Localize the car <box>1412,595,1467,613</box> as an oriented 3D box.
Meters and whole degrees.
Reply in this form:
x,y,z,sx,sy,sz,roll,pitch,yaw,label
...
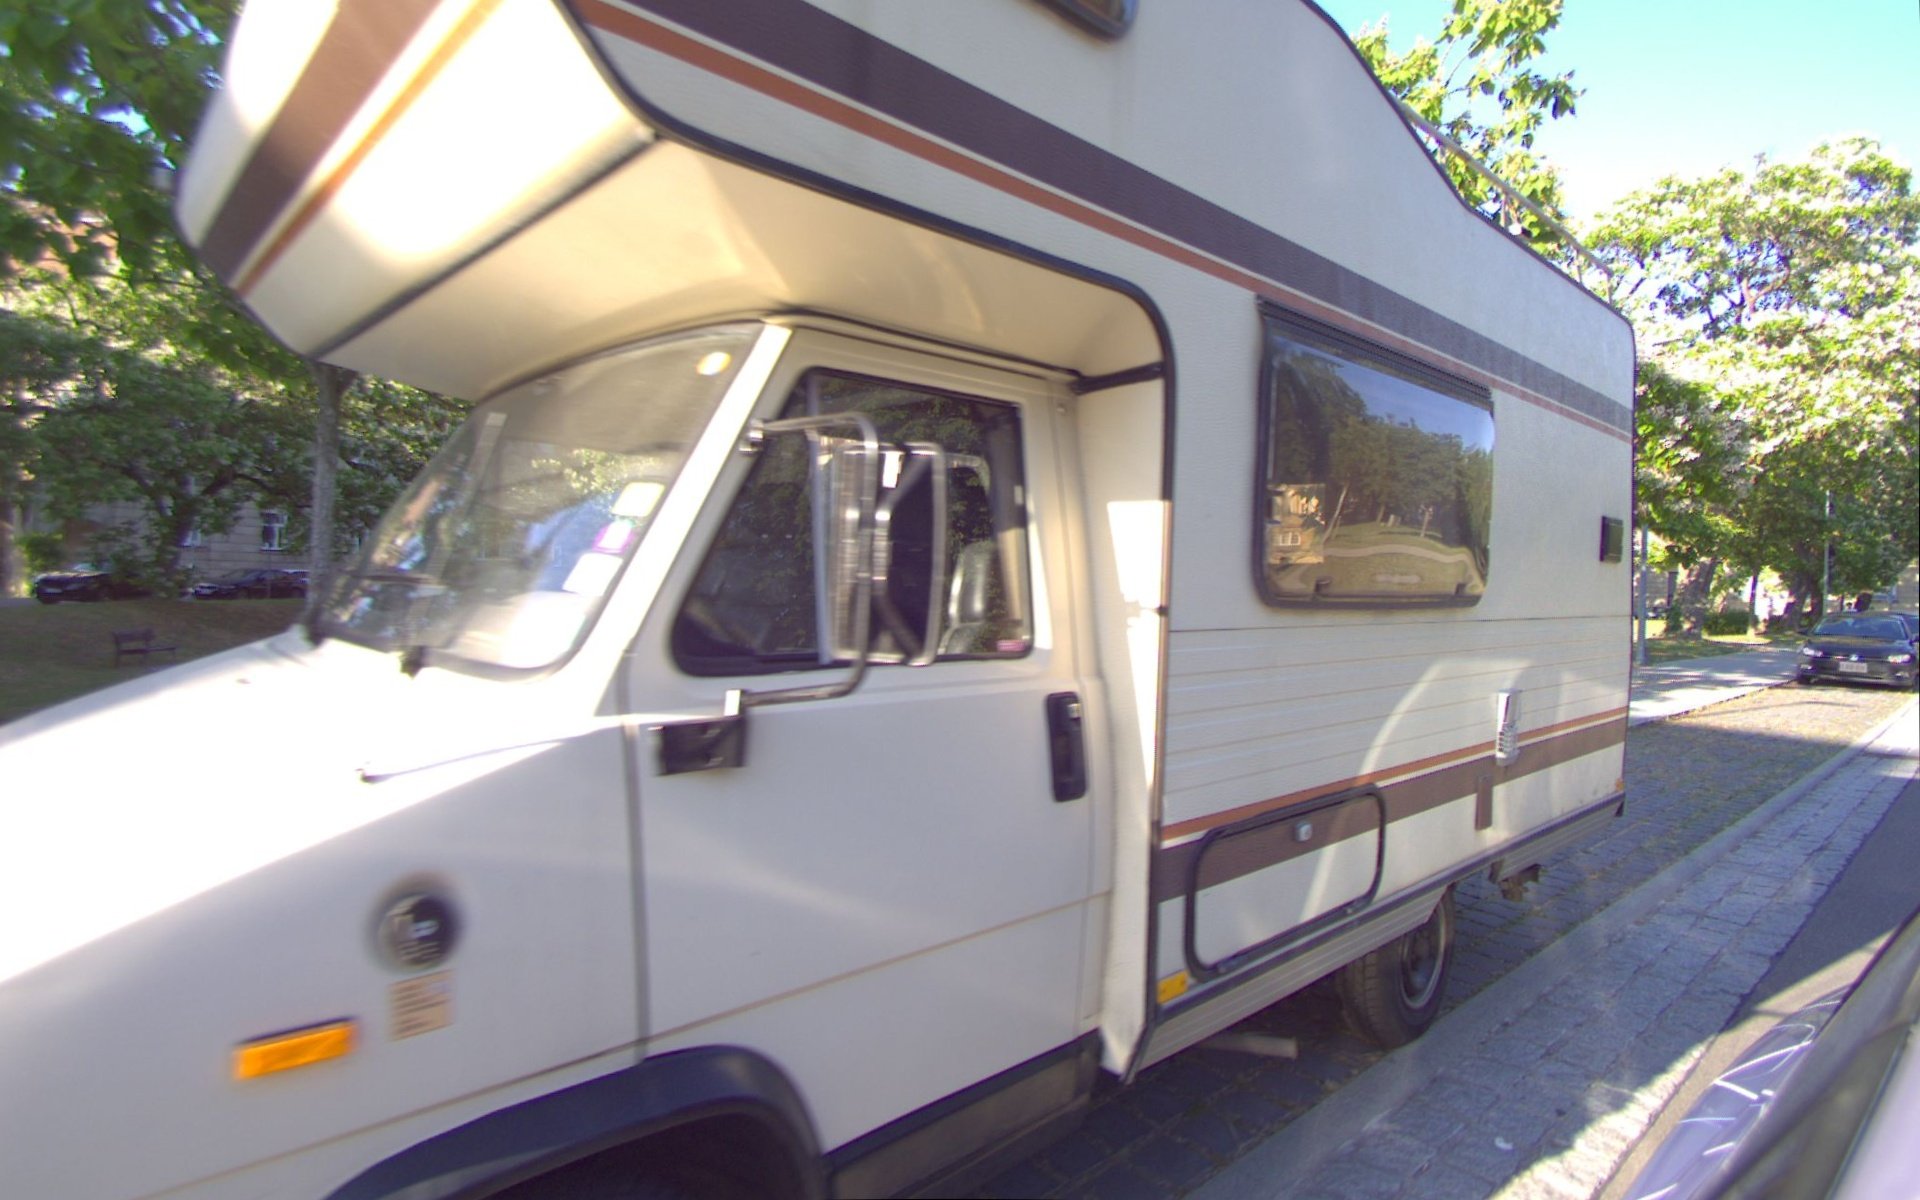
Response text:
x,y,z,sx,sy,sz,roll,pitch,yaw,label
43.691,0.394,92.339,4.314,1.435,1.809,2,1,19,car

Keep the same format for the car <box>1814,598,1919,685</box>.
x,y,z,sx,sy,sz,roll,pitch,yaw,label
18.064,0.740,19.902,1.627,1.482,4.181,3,2,44,car

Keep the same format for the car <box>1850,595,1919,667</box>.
x,y,z,sx,sy,sz,roll,pitch,yaw,label
22.793,0.705,24.322,4.349,1.570,1.734,0,2,-44,car

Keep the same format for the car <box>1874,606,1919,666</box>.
x,y,z,sx,sy,sz,roll,pitch,yaw,label
27.263,1.000,28.538,4.201,1.570,1.735,0,2,-42,car

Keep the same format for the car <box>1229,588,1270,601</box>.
x,y,z,sx,sy,sz,roll,pitch,yaw,label
34.413,-0.690,120.340,4.282,1.435,1.822,2,1,-7,car

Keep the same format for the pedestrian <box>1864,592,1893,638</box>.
x,y,z,sx,sy,sz,roll,pitch,yaw,label
36.000,0.569,39.655,0.719,1.758,0.754,2,0,-42,pedestrian

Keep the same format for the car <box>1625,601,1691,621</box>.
x,y,z,sx,sy,sz,roll,pitch,yaw,label
59.019,0.917,85.659,4.327,1.435,1.827,3,2,28,car

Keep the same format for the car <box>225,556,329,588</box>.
x,y,z,sx,sy,sz,roll,pitch,yaw,label
-33.520,-1.350,49.795,1.855,1.471,3.980,2,2,16,car

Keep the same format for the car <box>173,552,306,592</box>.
x,y,z,sx,sy,sz,roll,pitch,yaw,label
-29.013,-1.123,40.921,1.850,1.471,4.356,2,2,9,car

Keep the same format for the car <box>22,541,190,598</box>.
x,y,z,sx,sy,sz,roll,pitch,yaw,label
-28.930,-1.041,34.495,1.845,1.767,4.526,2,2,1,car

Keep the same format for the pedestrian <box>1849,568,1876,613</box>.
x,y,z,sx,sy,sz,roll,pitch,yaw,label
36.512,-0.383,40.941,0.719,1.758,0.726,2,0,-42,pedestrian

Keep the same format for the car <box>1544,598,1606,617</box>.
x,y,z,sx,sy,sz,roll,pitch,yaw,label
53.675,0.677,88.393,4.392,1.435,1.553,2,2,25,car

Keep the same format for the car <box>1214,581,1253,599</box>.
x,y,z,sx,sy,sz,roll,pitch,yaw,label
34.204,-1.227,126.619,4.284,2.134,1.822,2,1,-5,car

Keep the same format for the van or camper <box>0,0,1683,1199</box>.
x,y,z,sx,sy,sz,roll,pitch,yaw,label
0.318,-0.149,3.330,5.578,2.940,2.237,-1,3,-43,van or camper

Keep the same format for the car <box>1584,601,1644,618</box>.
x,y,z,sx,sy,sz,roll,pitch,yaw,label
59.495,0.880,92.125,4.410,1.340,1.492,3,2,26,car
